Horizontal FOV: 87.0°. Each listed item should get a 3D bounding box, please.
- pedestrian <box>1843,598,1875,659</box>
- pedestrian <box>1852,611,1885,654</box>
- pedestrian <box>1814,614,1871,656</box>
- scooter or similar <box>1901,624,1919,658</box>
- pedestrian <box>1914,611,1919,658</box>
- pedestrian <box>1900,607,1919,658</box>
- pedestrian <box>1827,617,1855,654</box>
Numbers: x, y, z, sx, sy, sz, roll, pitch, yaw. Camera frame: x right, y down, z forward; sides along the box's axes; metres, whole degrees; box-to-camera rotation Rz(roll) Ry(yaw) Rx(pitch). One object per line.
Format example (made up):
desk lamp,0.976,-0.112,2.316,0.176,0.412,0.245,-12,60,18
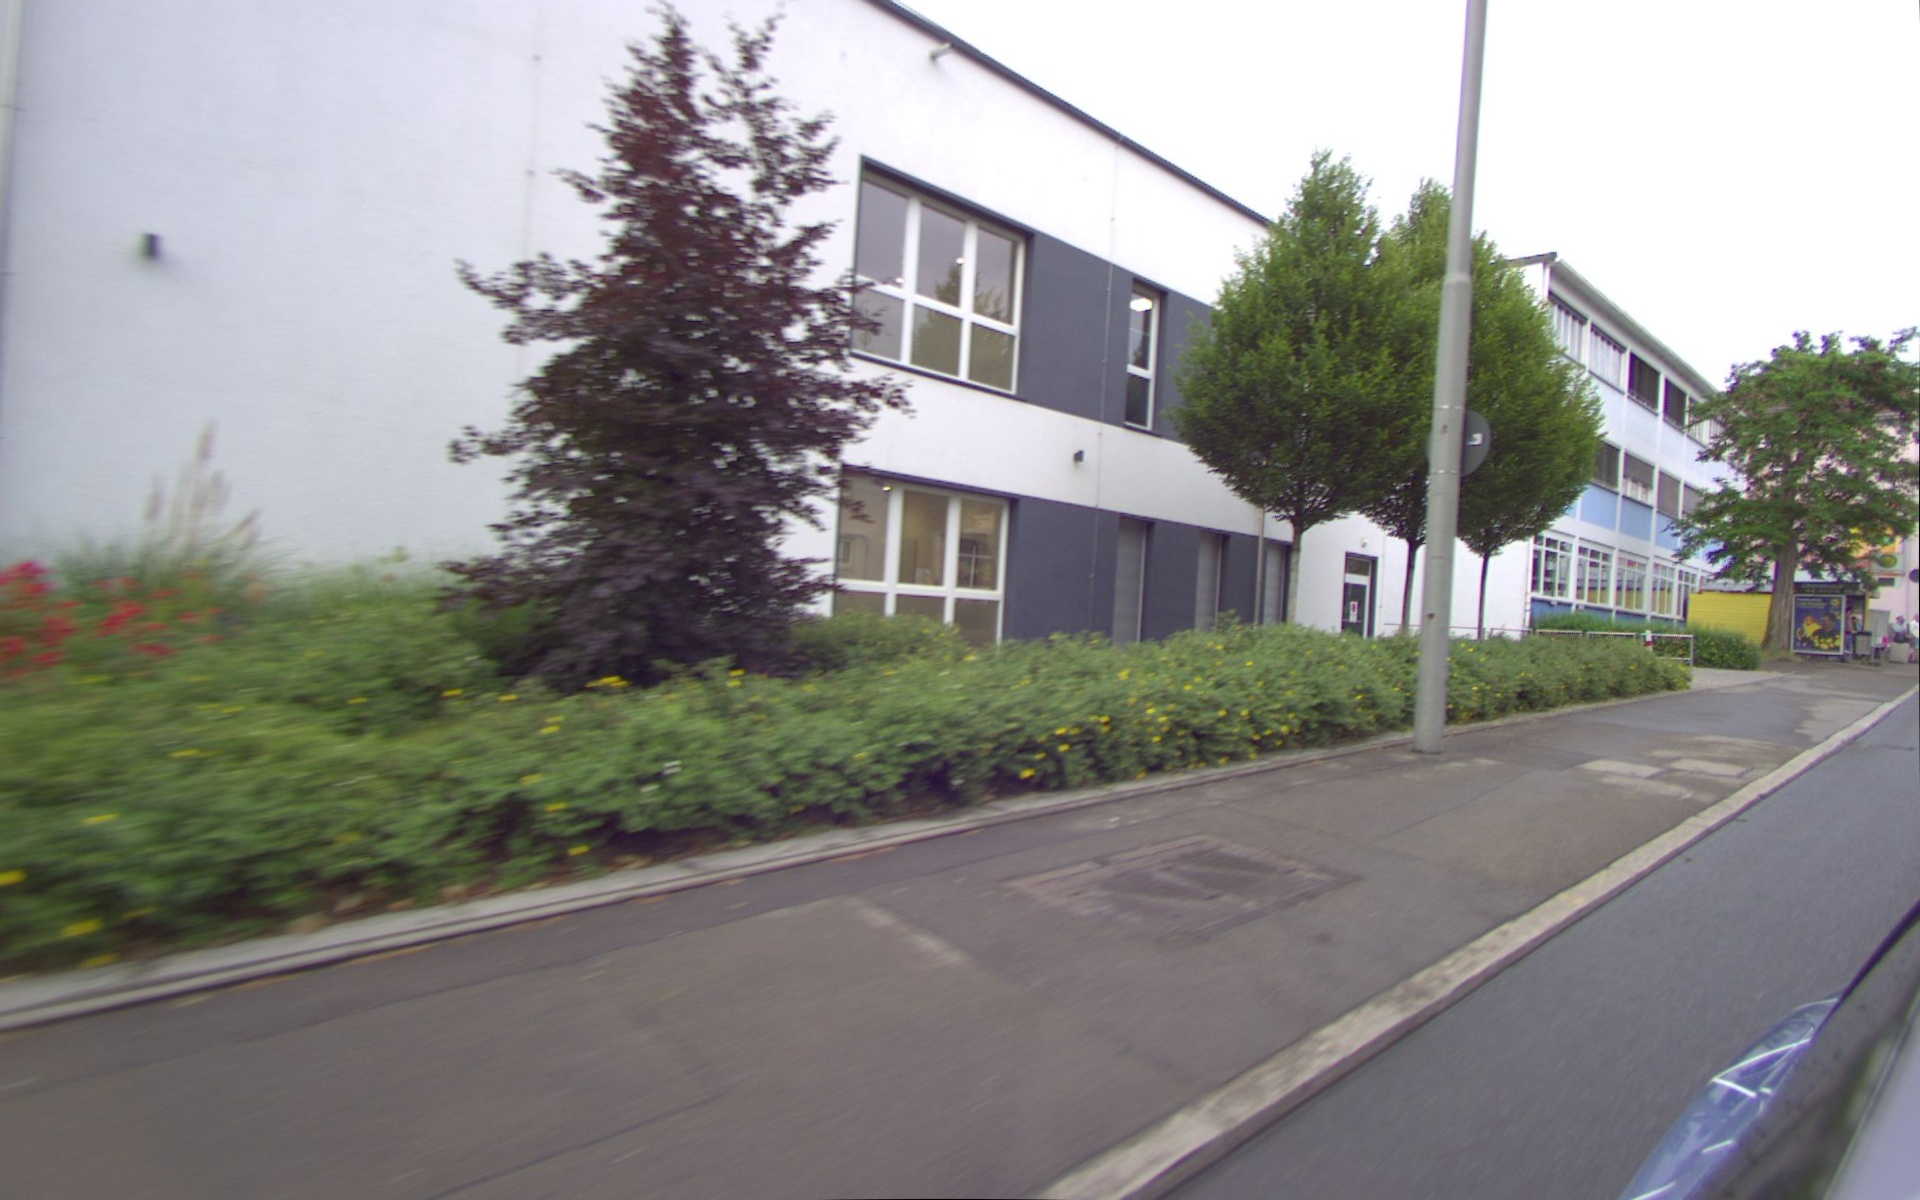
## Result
pedestrian,28.387,0.889,31.941,0.647,1.854,0.730,4,1,44
pedestrian,36.222,1.288,40.348,0.667,1.645,0.620,5,2,20
pedestrian,29.739,1.165,34.104,1.356,1.289,0.730,4,1,44
scooter or similar,33.338,1.437,35.345,0.618,1.154,0.559,4,1,44
pedestrian,35.893,1.294,37.663,0.447,1.728,0.548,6,2,45
pedestrian,33.777,1.159,35.826,0.660,1.763,0.816,4,1,43
pedestrian,30.709,1.236,35.287,0.660,1.214,0.730,4,1,44
